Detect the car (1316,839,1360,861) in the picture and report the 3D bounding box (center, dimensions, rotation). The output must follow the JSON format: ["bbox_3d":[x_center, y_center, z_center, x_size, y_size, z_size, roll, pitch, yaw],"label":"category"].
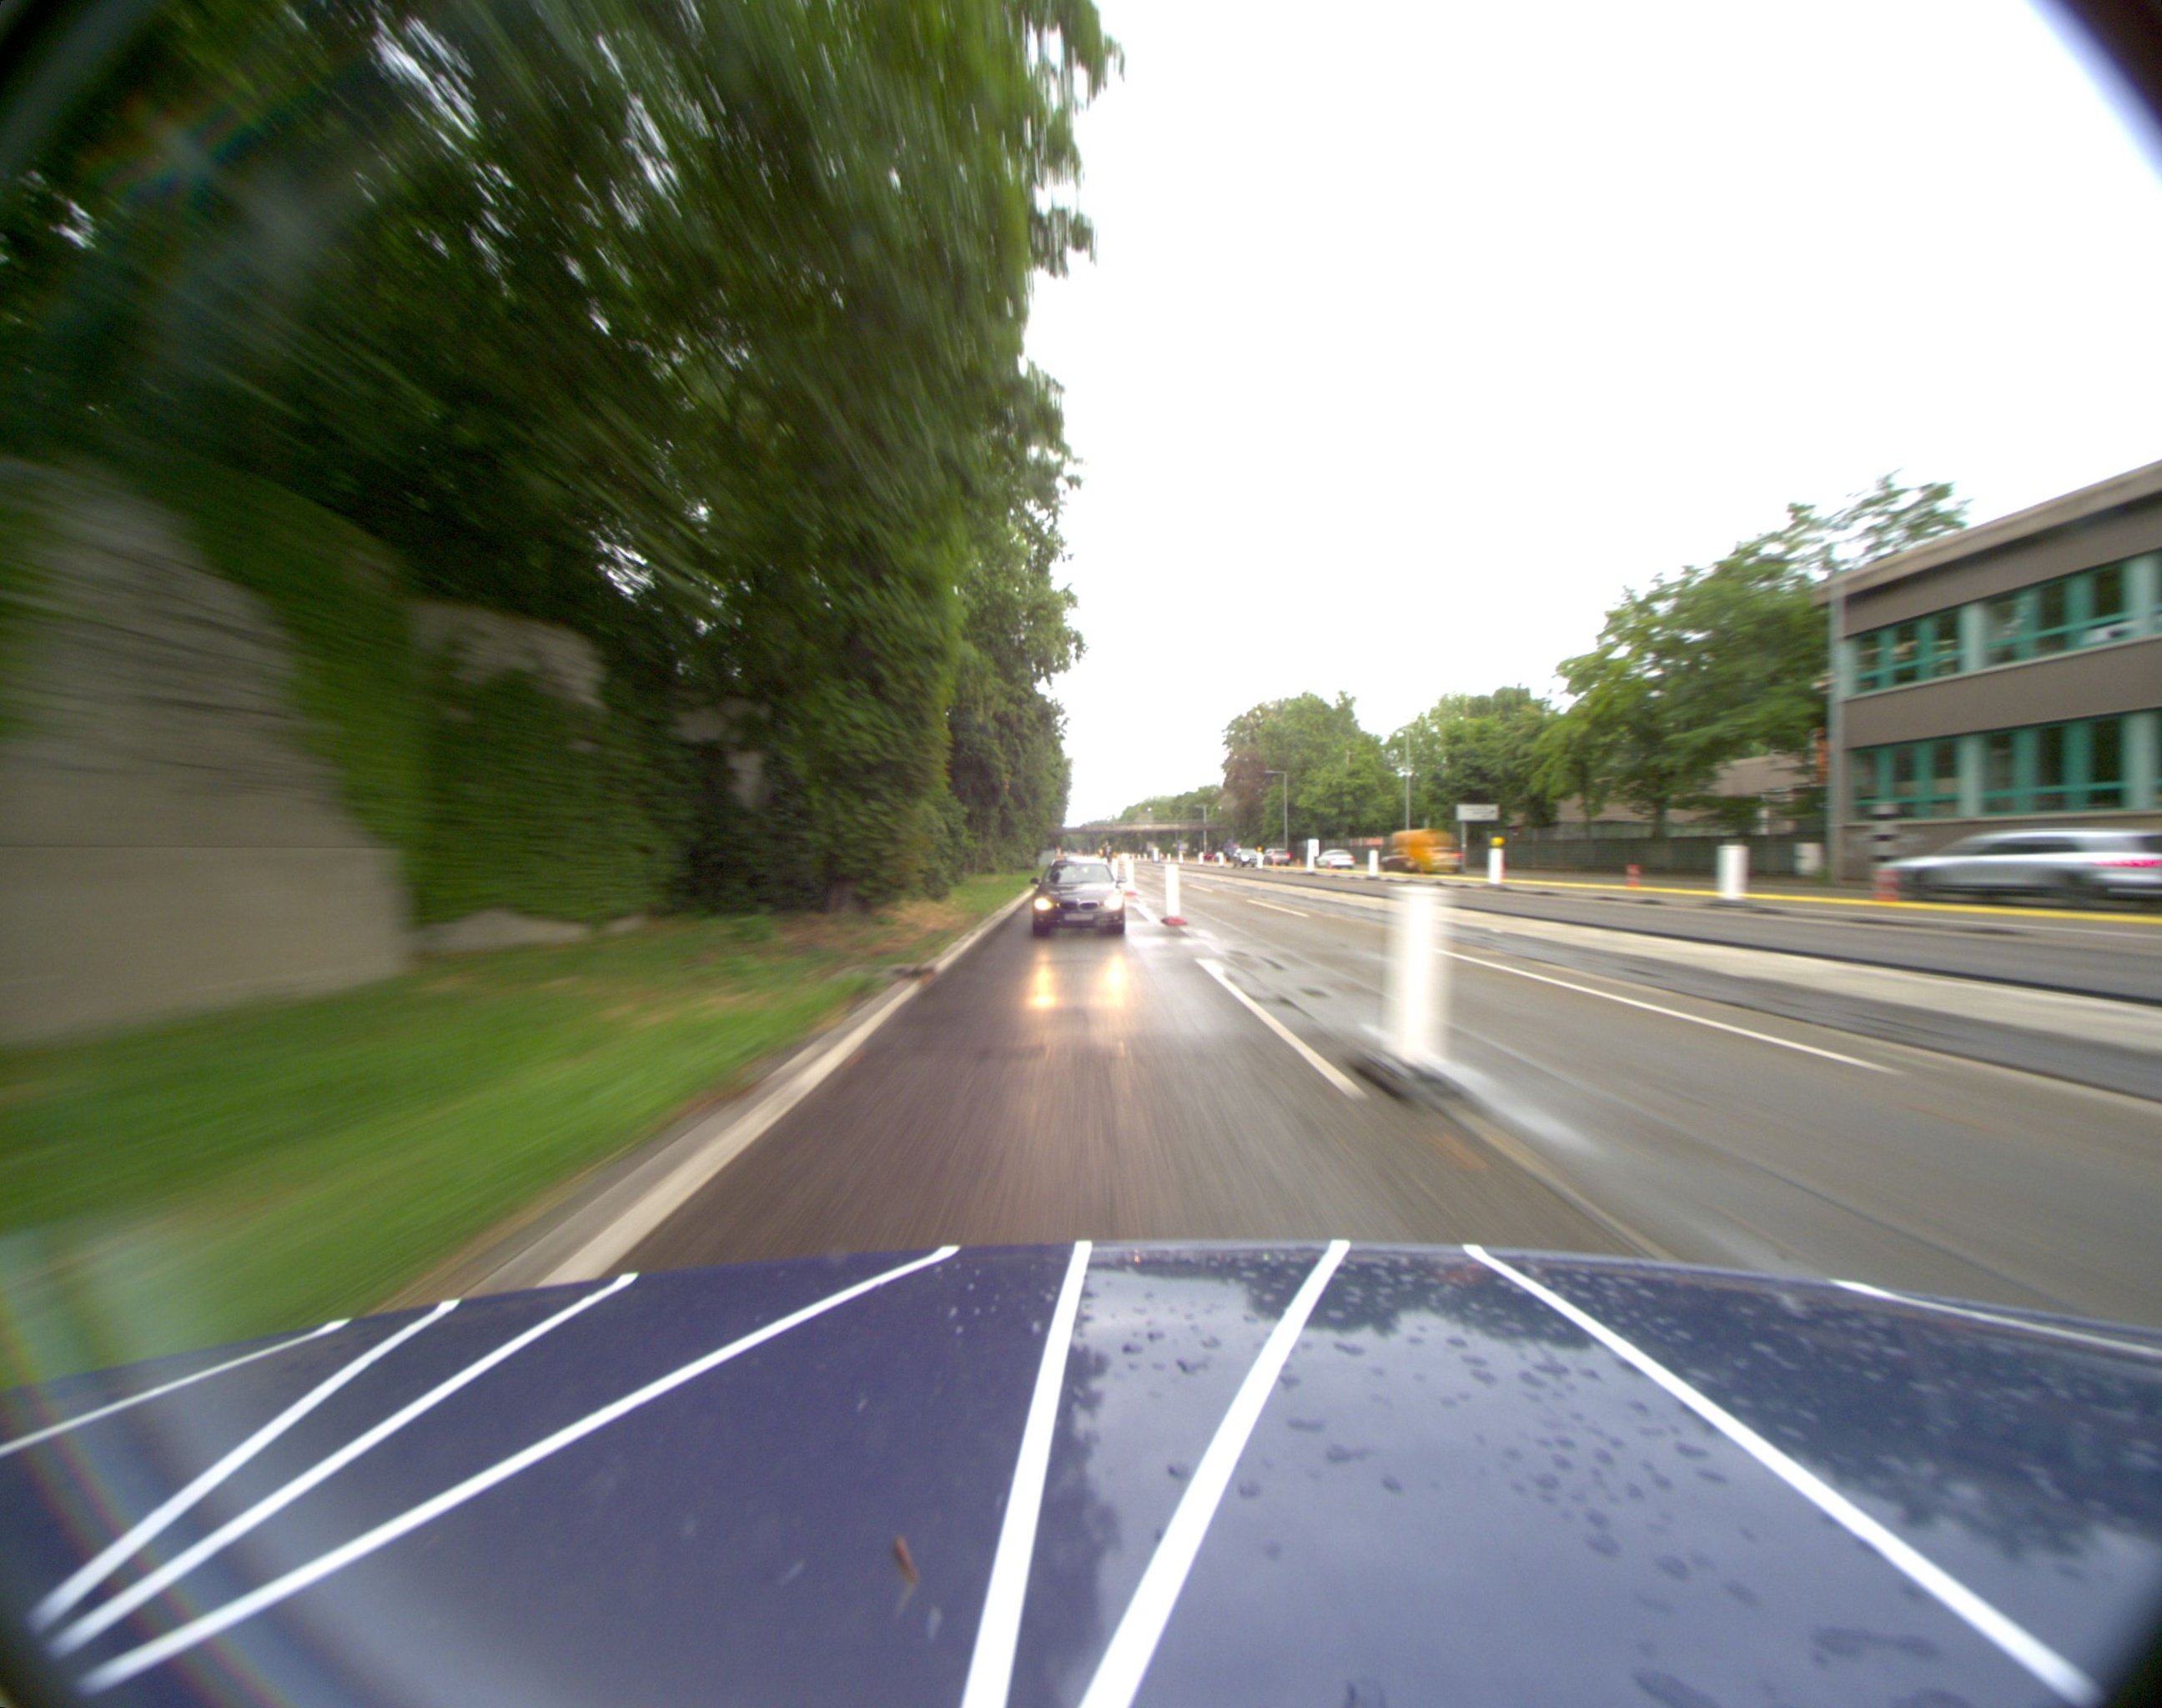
[{"bbox_3d":[18.527,-0.294,55.001,1.808,1.525,3.991,-2,1,0],"label":"car"}]

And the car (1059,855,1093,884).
[{"bbox_3d":[-0.305,0.955,48.411,1.999,1.650,4.229,-2,1,0],"label":"car"}]

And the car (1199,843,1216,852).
[{"bbox_3d":[20.663,-1.094,124.024,1.999,1.421,4.264,-1,0,-1],"label":"car"}]

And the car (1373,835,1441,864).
[{"bbox_3d":[18.027,-0.250,42.196,1.898,1.493,4.516,-2,1,1],"label":"car"}]

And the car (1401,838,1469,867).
[{"bbox_3d":[20.901,-0.098,45.029,1.999,1.577,4.178,-2,1,-1],"label":"car"}]

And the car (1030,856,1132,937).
[{"bbox_3d":[-0.058,0.783,15.907,1.838,1.397,3.999,-2,1,-2],"label":"car"}]

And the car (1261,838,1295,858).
[{"bbox_3d":[18.237,-0.574,70.549,1.993,1.758,4.674,-2,1,1],"label":"car"}]

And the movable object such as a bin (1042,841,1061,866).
[{"bbox_3d":[-4.800,-0.139,123.183,2.890,3.917,6.104,-2,1,-2],"label":"movable object such as a bin"}]

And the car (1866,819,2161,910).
[{"bbox_3d":[20.941,0.157,16.821,1.943,1.696,4.934,-2,1,-1],"label":"car"}]

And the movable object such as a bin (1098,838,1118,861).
[{"bbox_3d":[5.358,-0.973,155.261,3.527,4.495,10.068,-2,1,0],"label":"movable object such as a bin"}]
